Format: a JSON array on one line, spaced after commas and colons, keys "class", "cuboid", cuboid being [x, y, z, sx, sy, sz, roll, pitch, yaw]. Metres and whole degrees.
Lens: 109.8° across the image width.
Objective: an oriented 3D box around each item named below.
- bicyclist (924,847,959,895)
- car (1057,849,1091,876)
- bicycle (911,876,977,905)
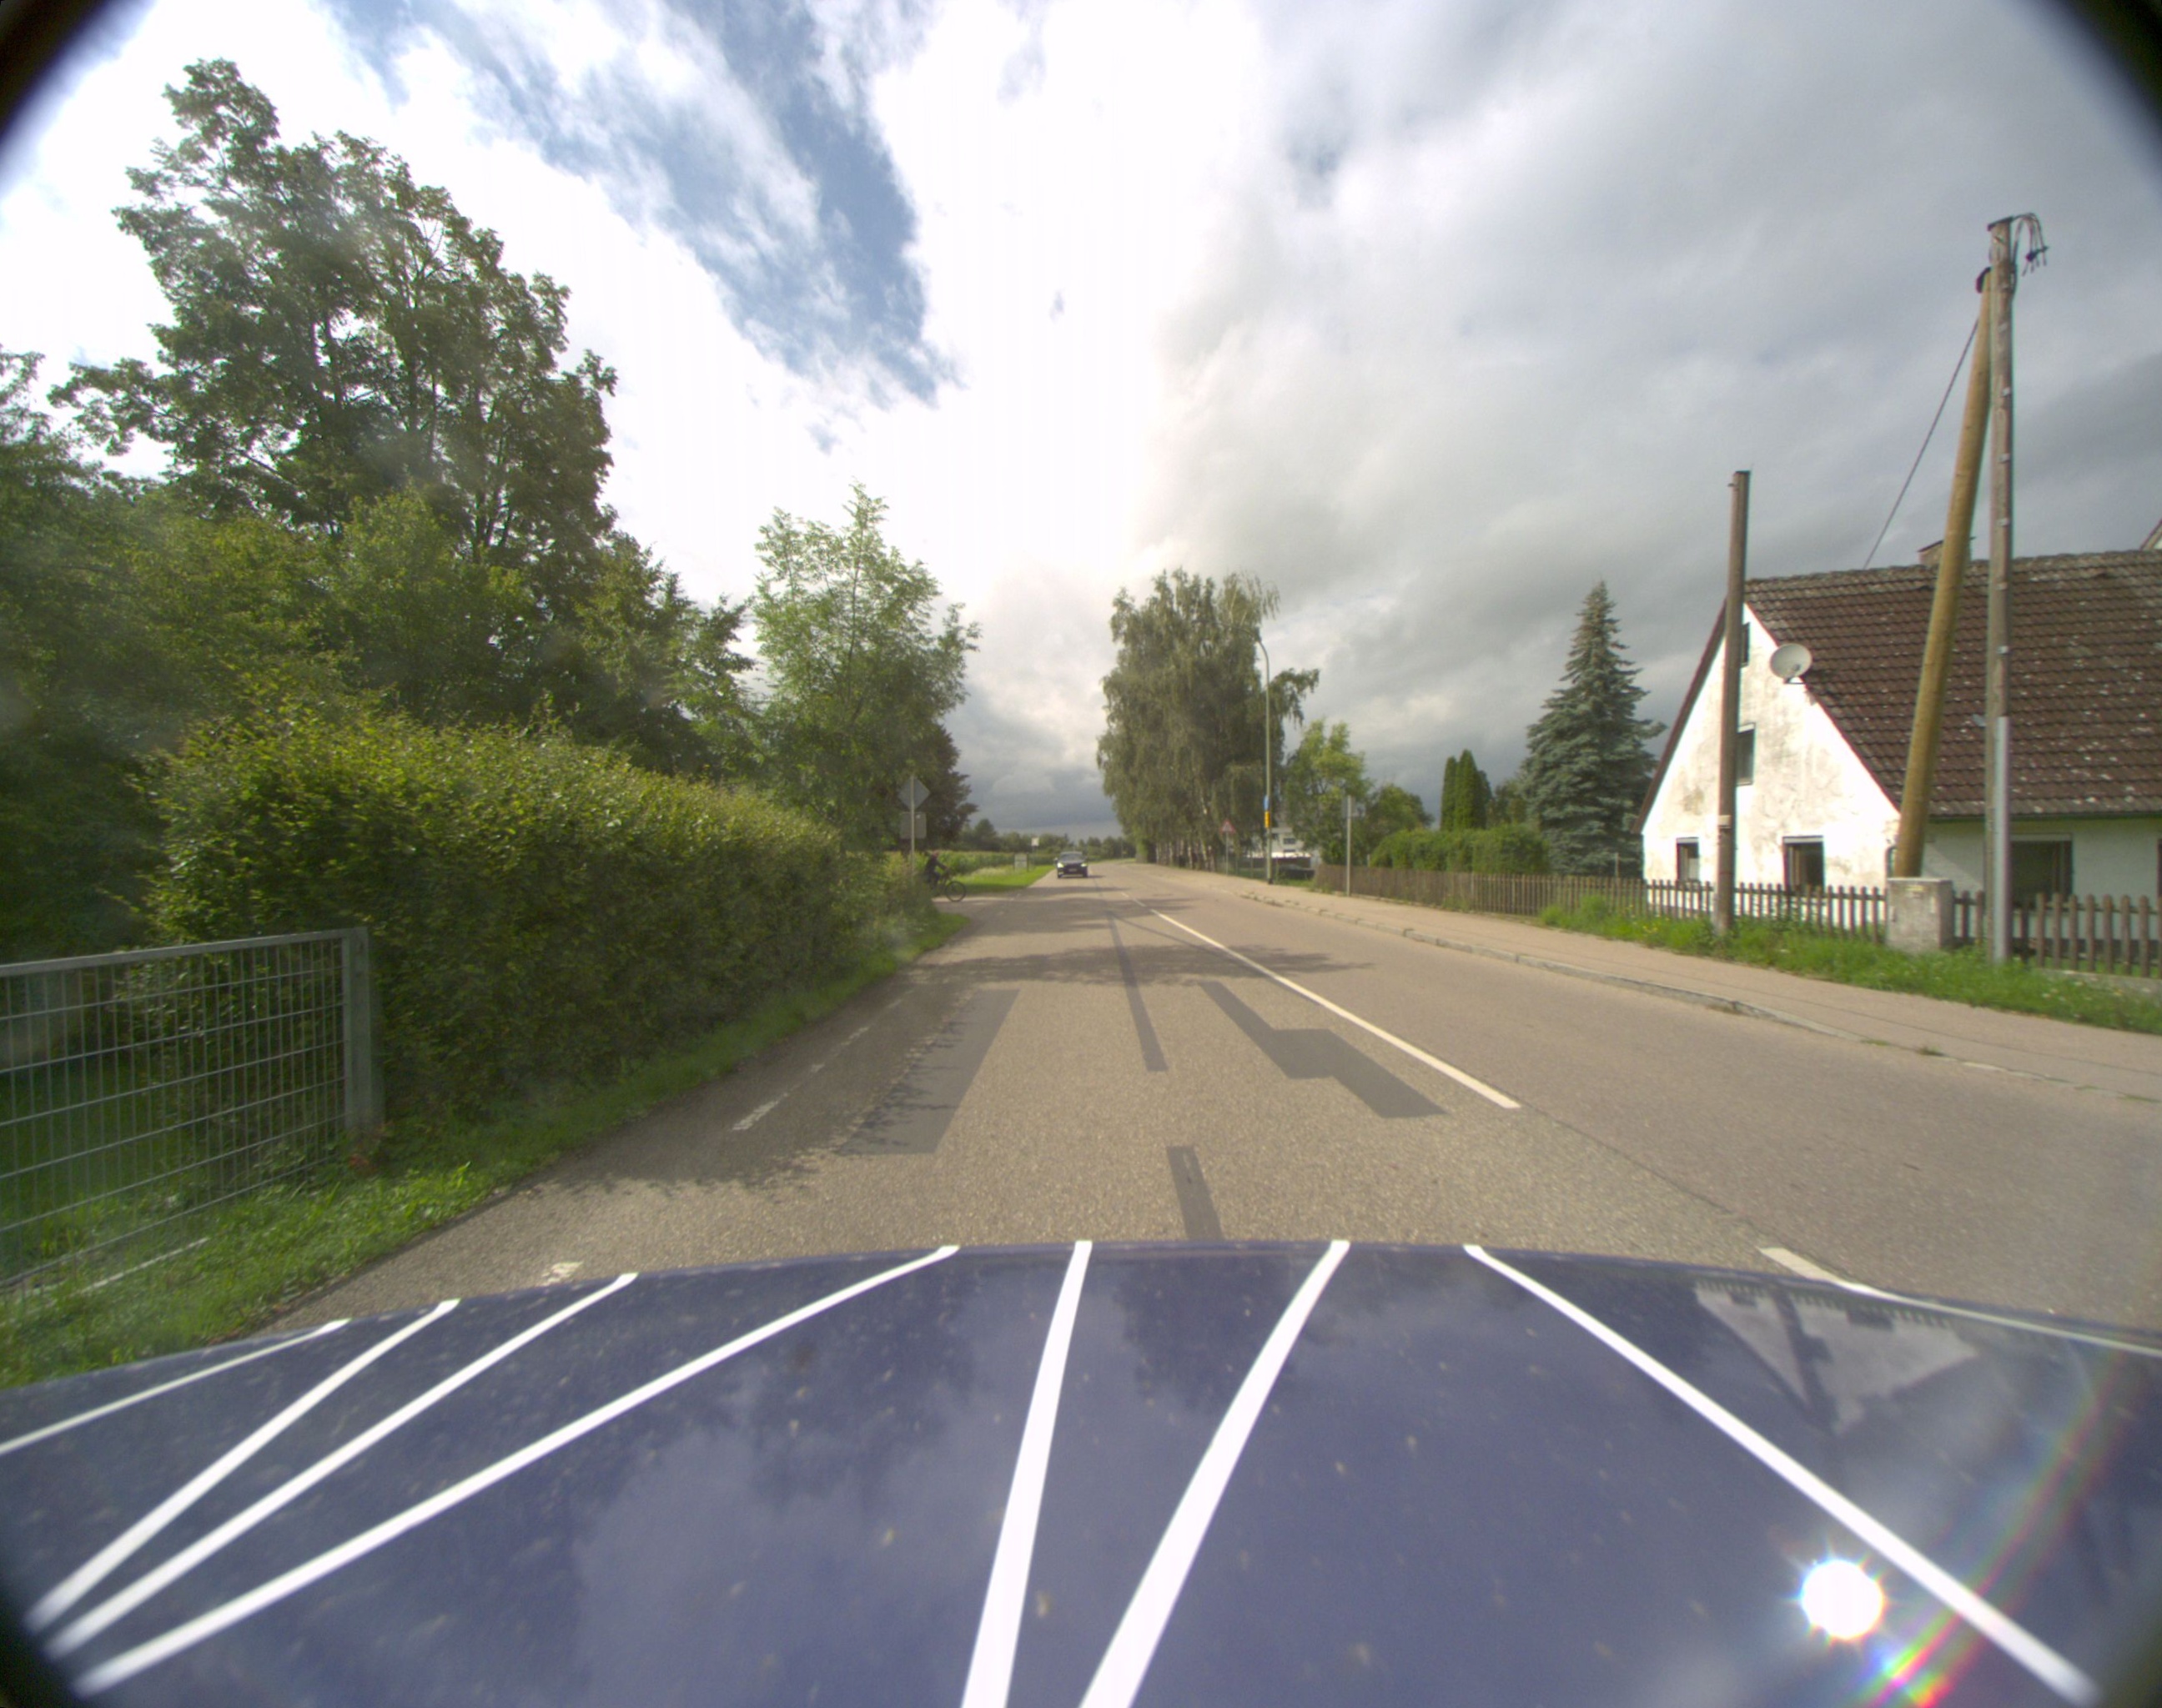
[{"class": "bicyclist", "cuboid": [-4.779, 0.574, 25.932, 1.021, 1.576, 1.052, -3, 1, -14]}, {"class": "car", "cuboid": [-0.447, 0.516, 47.688, 1.999, 1.594, 3.999, -2, 0, -1]}, {"class": "bicycle", "cuboid": [-4.688, 1.228, 25.954, 2.123, 0.859, 1.052, -2, 1, -14]}]
